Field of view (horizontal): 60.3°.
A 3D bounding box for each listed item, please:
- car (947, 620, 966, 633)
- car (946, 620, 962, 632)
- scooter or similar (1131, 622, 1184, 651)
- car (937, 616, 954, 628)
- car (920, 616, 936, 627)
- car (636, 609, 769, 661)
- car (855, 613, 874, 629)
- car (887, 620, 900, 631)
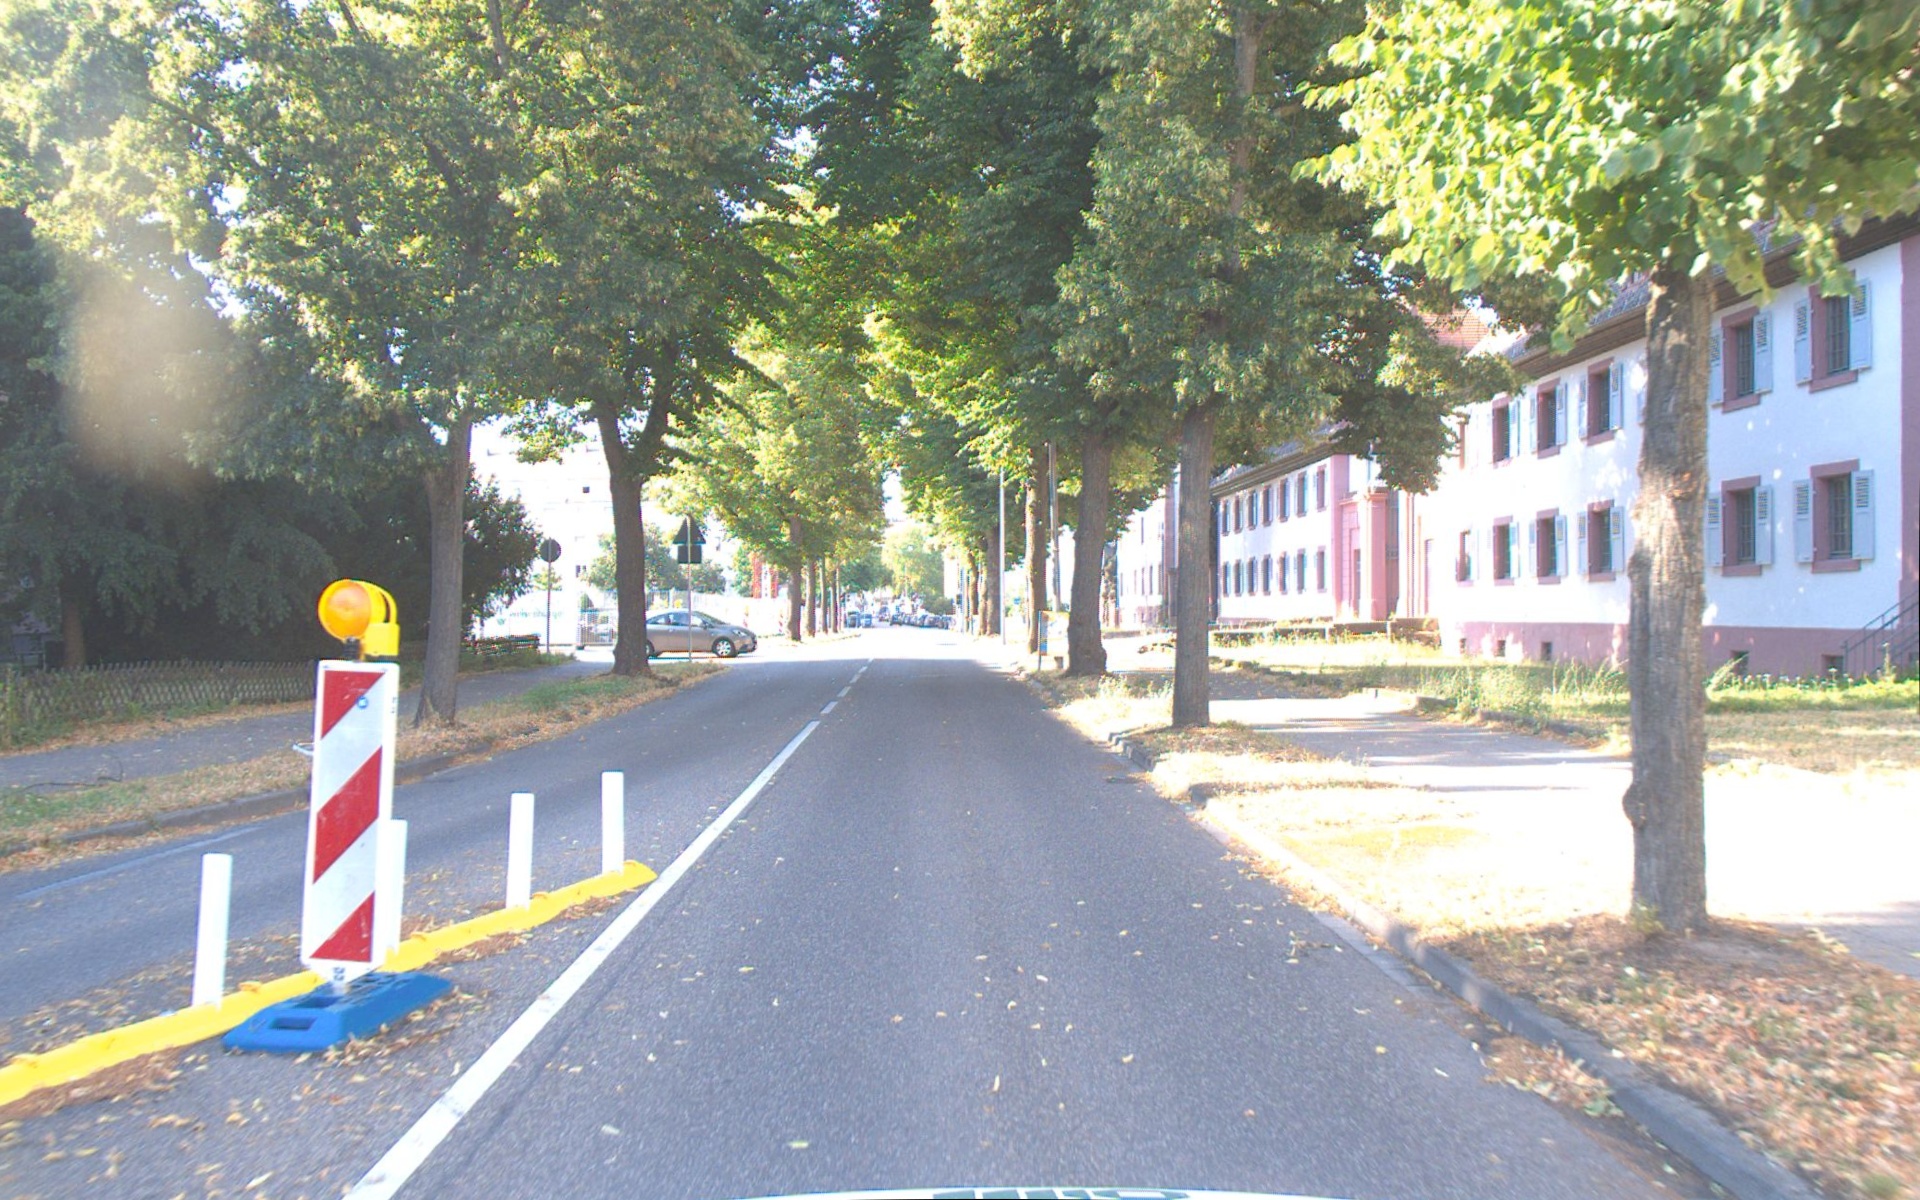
[{"bbox_3d":[-0.336,2.661,168.358,1.804,1.283,3.998,-1,-1,-2],"label":"car"},{"bbox_3d":[-0.654,2.774,178.897,1.803,1.283,3.999,0,0,0],"label":"car"},{"bbox_3d":[5.322,0.981,44.581,1.202,0.558,1.063,-9,0,-2],"label":"scooter or similar"},{"bbox_3d":[-1.606,2.461,185.972,1.804,1.283,3.998,-1,-1,-2],"label":"car"},{"bbox_3d":[-4.188,2.800,215.060,1.805,1.410,3.996,-1,-1,-5],"label":"car"},{"bbox_3d":[-7.810,1.050,50.323,3.765,1.499,1.651,-1,0,0],"label":"car"},{"bbox_3d":[-11.006,2.414,190.859,1.956,1.717,3.993,-1,-1,-7],"label":"car"},{"bbox_3d":[-9.658,3.713,239.180,1.681,1.512,3.995,-2,-1,-5],"label":"car"}]
